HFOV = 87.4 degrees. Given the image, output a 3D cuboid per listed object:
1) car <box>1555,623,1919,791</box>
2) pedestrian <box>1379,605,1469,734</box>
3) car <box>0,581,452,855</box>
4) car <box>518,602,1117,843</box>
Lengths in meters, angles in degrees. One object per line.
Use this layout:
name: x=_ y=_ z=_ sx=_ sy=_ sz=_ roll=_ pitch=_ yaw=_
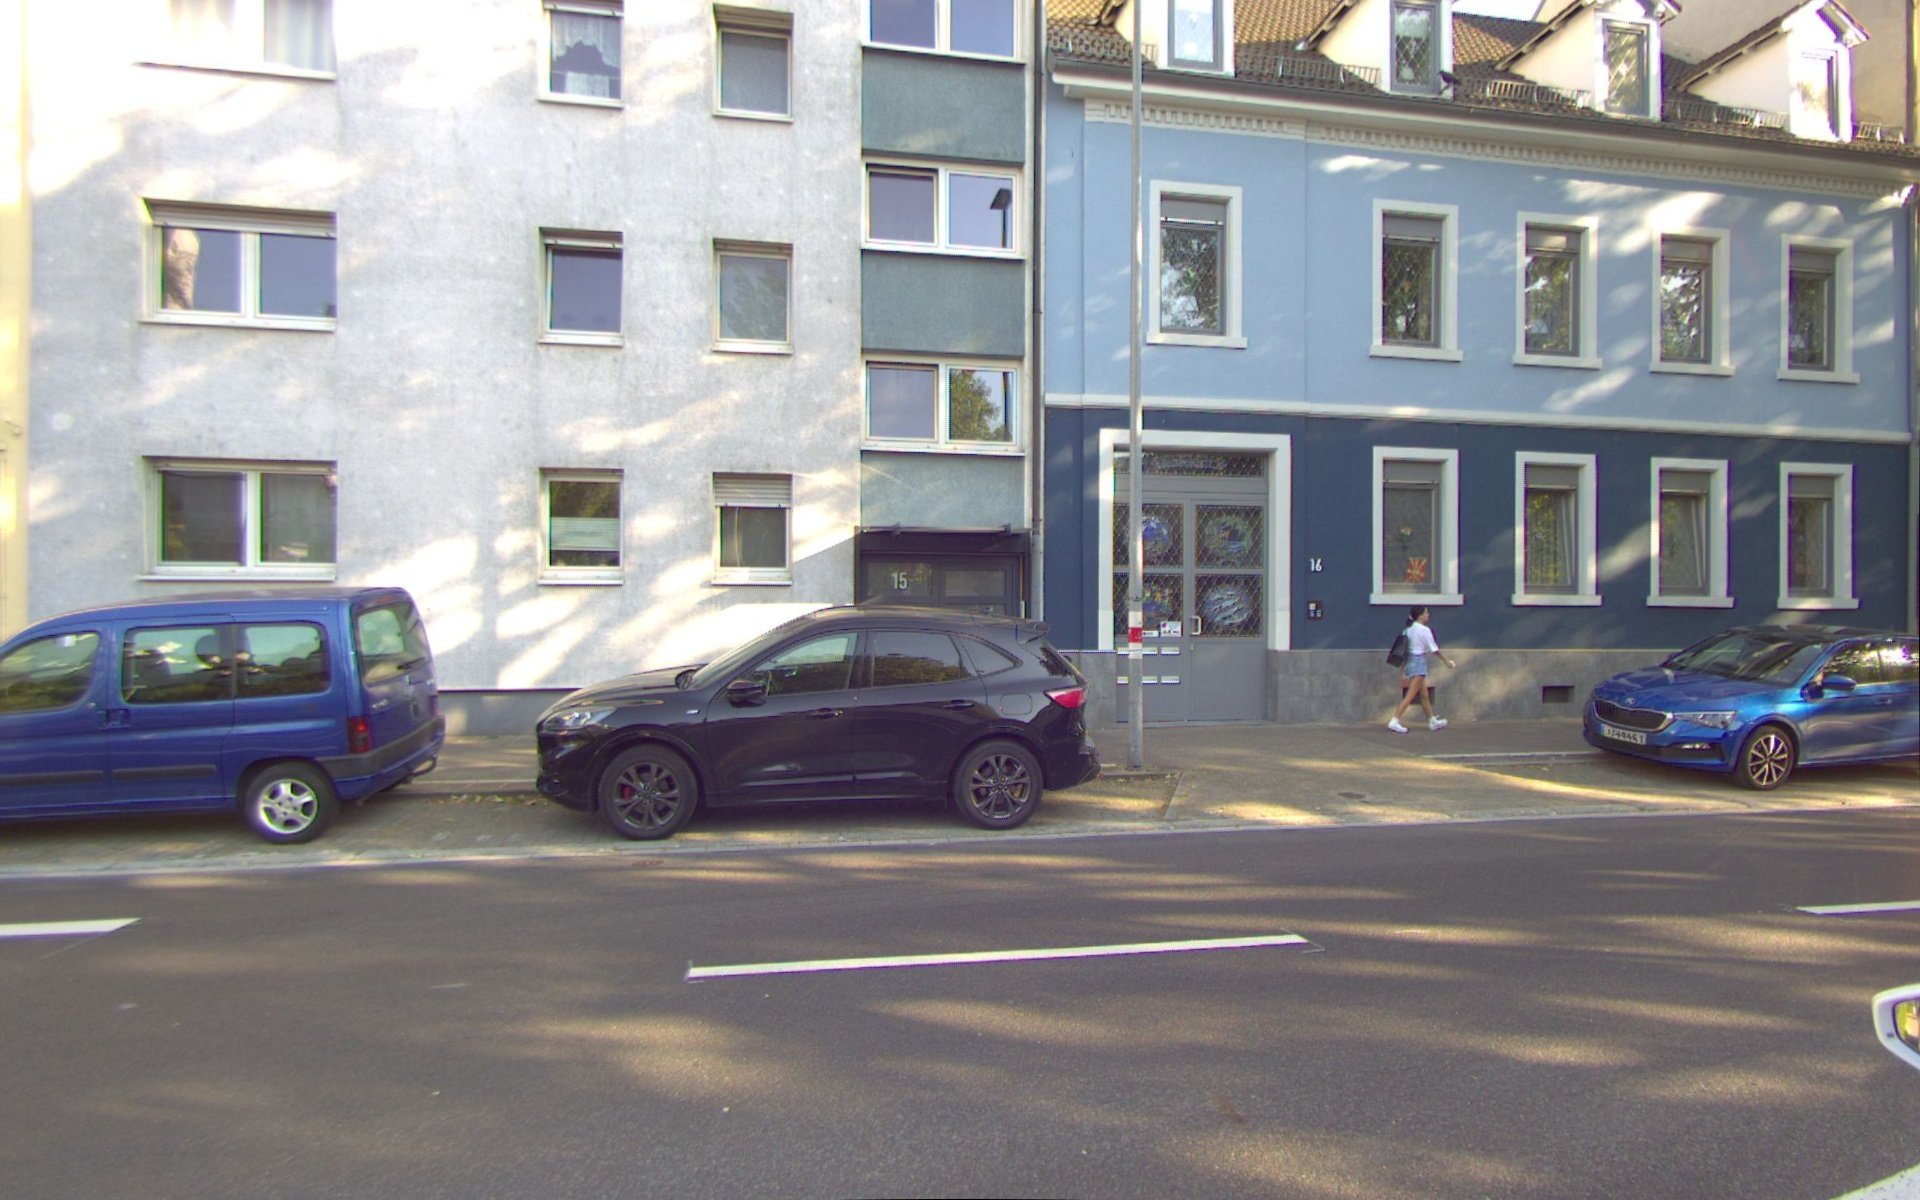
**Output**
car: x=8.744 y=1.027 z=10.644 sx=4.188 sy=1.507 sz=1.651 roll=0 pitch=1 yaw=-12
pedestrian: x=5.890 y=0.867 z=12.787 sx=0.848 sy=1.591 sz=0.706 roll=0 pitch=0 yaw=3
car: x=-6.274 y=0.791 z=7.668 sx=3.932 sy=1.843 sz=1.667 roll=0 pitch=1 yaw=-9
car: x=-1.092 y=0.896 z=8.430 sx=4.409 sy=1.695 sz=1.910 roll=0 pitch=1 yaw=-7
